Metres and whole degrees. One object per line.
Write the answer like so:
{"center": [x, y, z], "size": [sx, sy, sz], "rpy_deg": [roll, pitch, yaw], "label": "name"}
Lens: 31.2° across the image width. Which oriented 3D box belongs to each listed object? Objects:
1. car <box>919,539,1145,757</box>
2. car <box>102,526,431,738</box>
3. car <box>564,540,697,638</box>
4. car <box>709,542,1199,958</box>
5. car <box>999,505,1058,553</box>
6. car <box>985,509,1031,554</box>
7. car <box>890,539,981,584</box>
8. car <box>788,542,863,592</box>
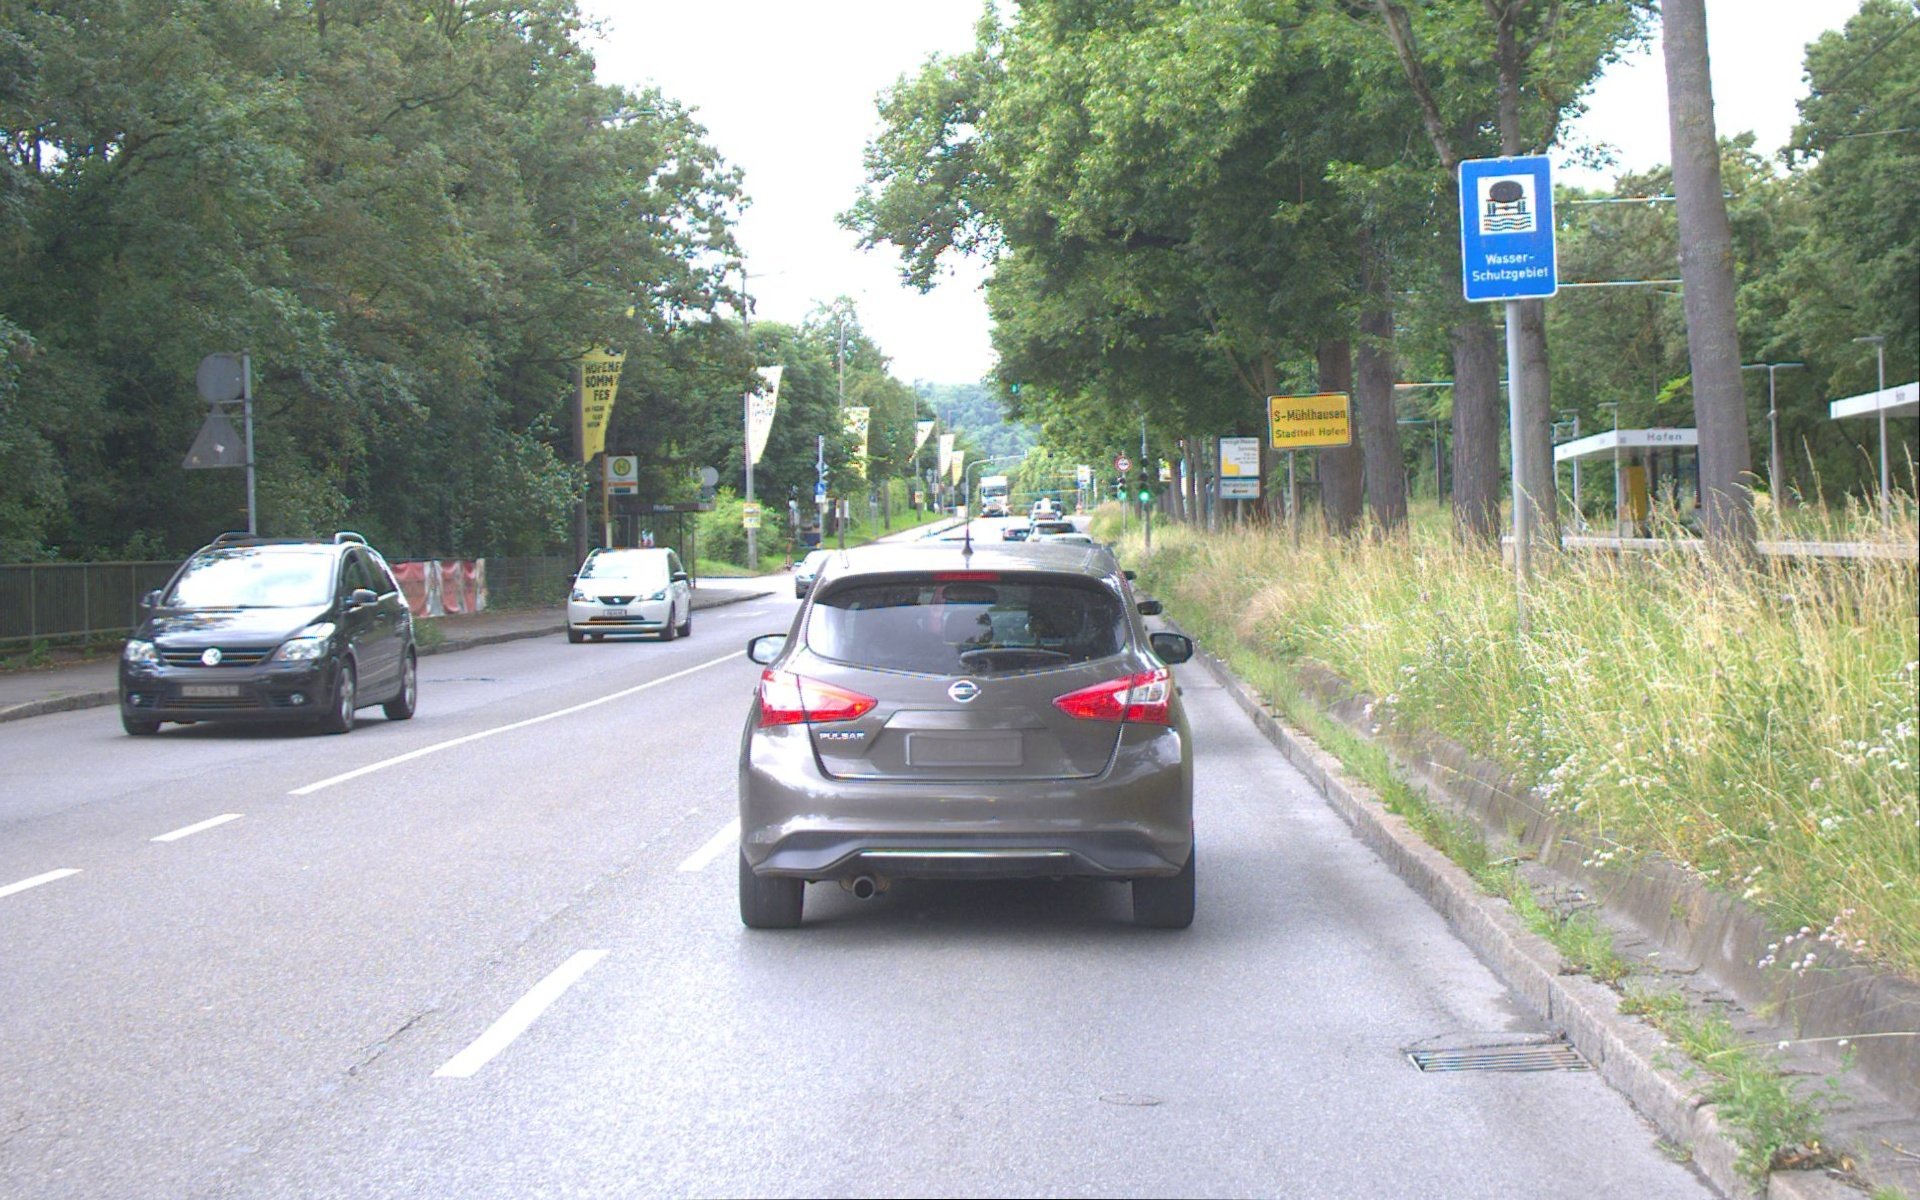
{"center": [0.537, 0.294, 24.946], "size": [1.502, 1.436, 3.541], "rpy_deg": [-1, 1, 2], "label": "car"}
{"center": [-5.559, 0.210, 28.029], "size": [1.720, 1.602, 4.014], "rpy_deg": [0, 1, 2], "label": "car"}
{"center": [-5.163, -0.196, 54.274], "size": [1.580, 1.461, 3.696], "rpy_deg": [-1, 1, 2], "label": "car"}
{"center": [0.047, 0.517, 14.435], "size": [1.783, 1.501, 3.696], "rpy_deg": [0, 1, 2], "label": "car"}
{"center": [2.394, -2.450, 119.071], "size": [1.993, 1.568, 4.000], "rpy_deg": [1, 1, 2], "label": "car"}
{"center": [2.189, -3.124, 157.616], "size": [1.993, 2.007, 4.000], "rpy_deg": [1, 1, -1], "label": "car"}
{"center": [-0.775, -1.205, 107.270], "size": [1.758, 1.332, 3.697], "rpy_deg": [-1, 1, -19], "label": "car"}
{"center": [-3.668, -0.924, 94.375], "size": [1.758, 1.332, 3.696], "rpy_deg": [-1, 1, 2], "label": "car"}
